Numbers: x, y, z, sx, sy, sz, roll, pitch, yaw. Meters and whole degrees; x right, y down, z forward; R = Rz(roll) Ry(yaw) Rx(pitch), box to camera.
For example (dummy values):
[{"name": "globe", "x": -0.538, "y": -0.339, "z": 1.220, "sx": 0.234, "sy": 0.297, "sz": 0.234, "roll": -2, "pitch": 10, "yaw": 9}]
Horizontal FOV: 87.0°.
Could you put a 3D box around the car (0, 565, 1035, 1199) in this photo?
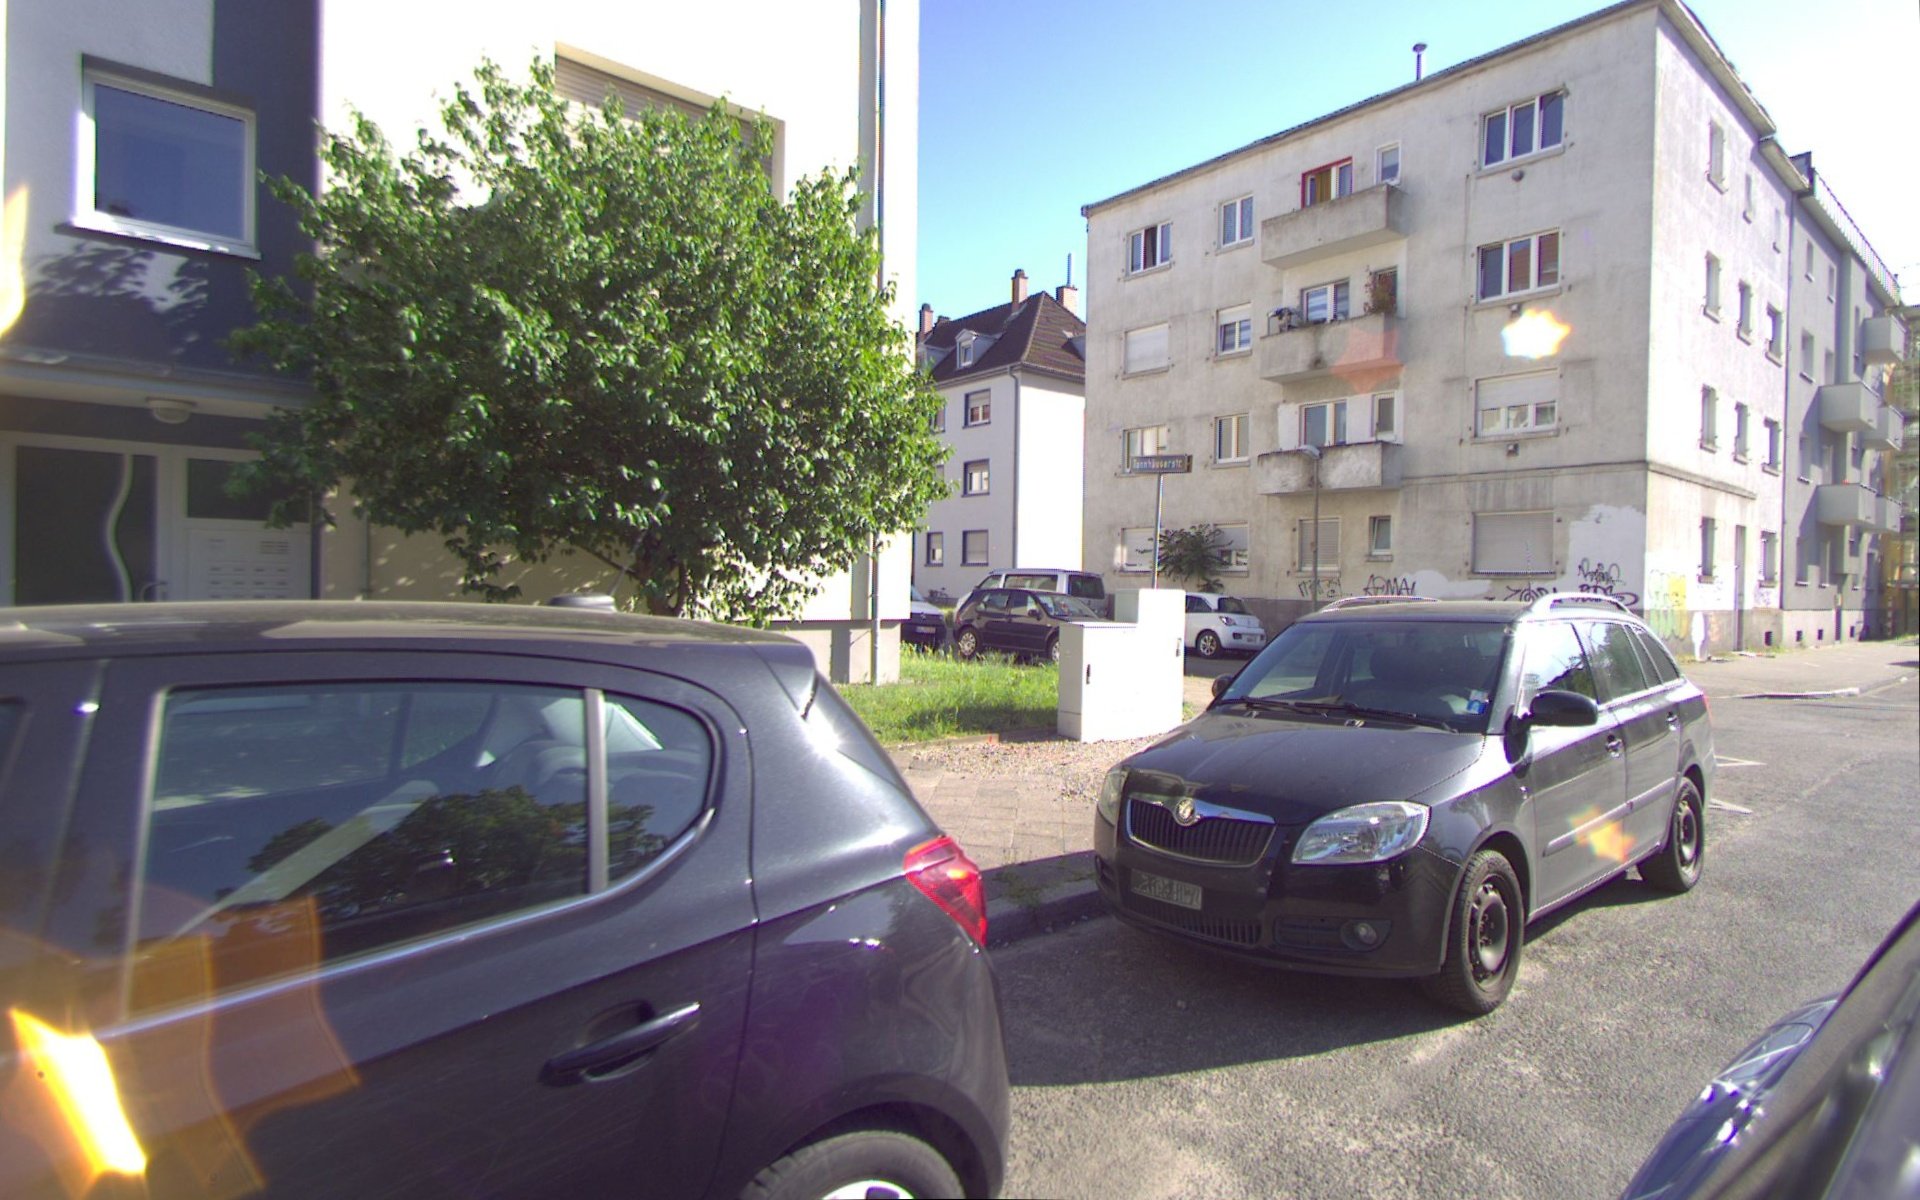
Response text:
[{"name": "car", "x": -1.791, "y": 0.701, "z": 1.284, "sx": 3.731, "sy": 1.503, "sz": 1.608, "roll": 0, "pitch": 1, "yaw": -41}]

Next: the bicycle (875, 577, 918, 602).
[{"name": "bicycle", "x": -2.837, "y": -0.479, "z": 45.487, "sx": 2.038, "sy": 0.973, "sz": 0.500, "roll": -4, "pitch": 4, "yaw": -40}]

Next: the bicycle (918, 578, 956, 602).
[{"name": "bicycle", "x": -1.042, "y": -0.446, "z": 44.628, "sx": 0.492, "sy": 0.973, "sz": 2.073, "roll": -4, "pitch": 4, "yaw": -38}]

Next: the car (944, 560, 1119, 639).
[{"name": "car", "x": 1.861, "y": -0.055, "z": 27.858, "sx": 1.922, "sy": 1.958, "sz": 4.851, "roll": 3, "pitch": 0, "yaw": -40}]

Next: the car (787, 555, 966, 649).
[{"name": "car", "x": -2.000, "y": -0.005, "z": 22.988, "sx": 1.770, "sy": 1.869, "sz": 4.536, "roll": 4, "pitch": -1, "yaw": -38}]

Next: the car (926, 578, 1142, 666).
[{"name": "car", "x": 1.311, "y": 0.387, "z": 19.433, "sx": 1.771, "sy": 1.433, "sz": 4.044, "roll": 4, "pitch": -1, "yaw": -40}]

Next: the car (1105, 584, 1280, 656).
[{"name": "car", "x": 5.328, "y": 0.427, "z": 23.575, "sx": 1.661, "sy": 1.477, "sz": 3.719, "roll": 2, "pitch": 0, "yaw": -39}]

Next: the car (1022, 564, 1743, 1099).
[{"name": "car", "x": 2.300, "y": 0.642, "z": 4.907, "sx": 4.014, "sy": 1.567, "sz": 1.621, "roll": -1, "pitch": 2, "yaw": -41}]
